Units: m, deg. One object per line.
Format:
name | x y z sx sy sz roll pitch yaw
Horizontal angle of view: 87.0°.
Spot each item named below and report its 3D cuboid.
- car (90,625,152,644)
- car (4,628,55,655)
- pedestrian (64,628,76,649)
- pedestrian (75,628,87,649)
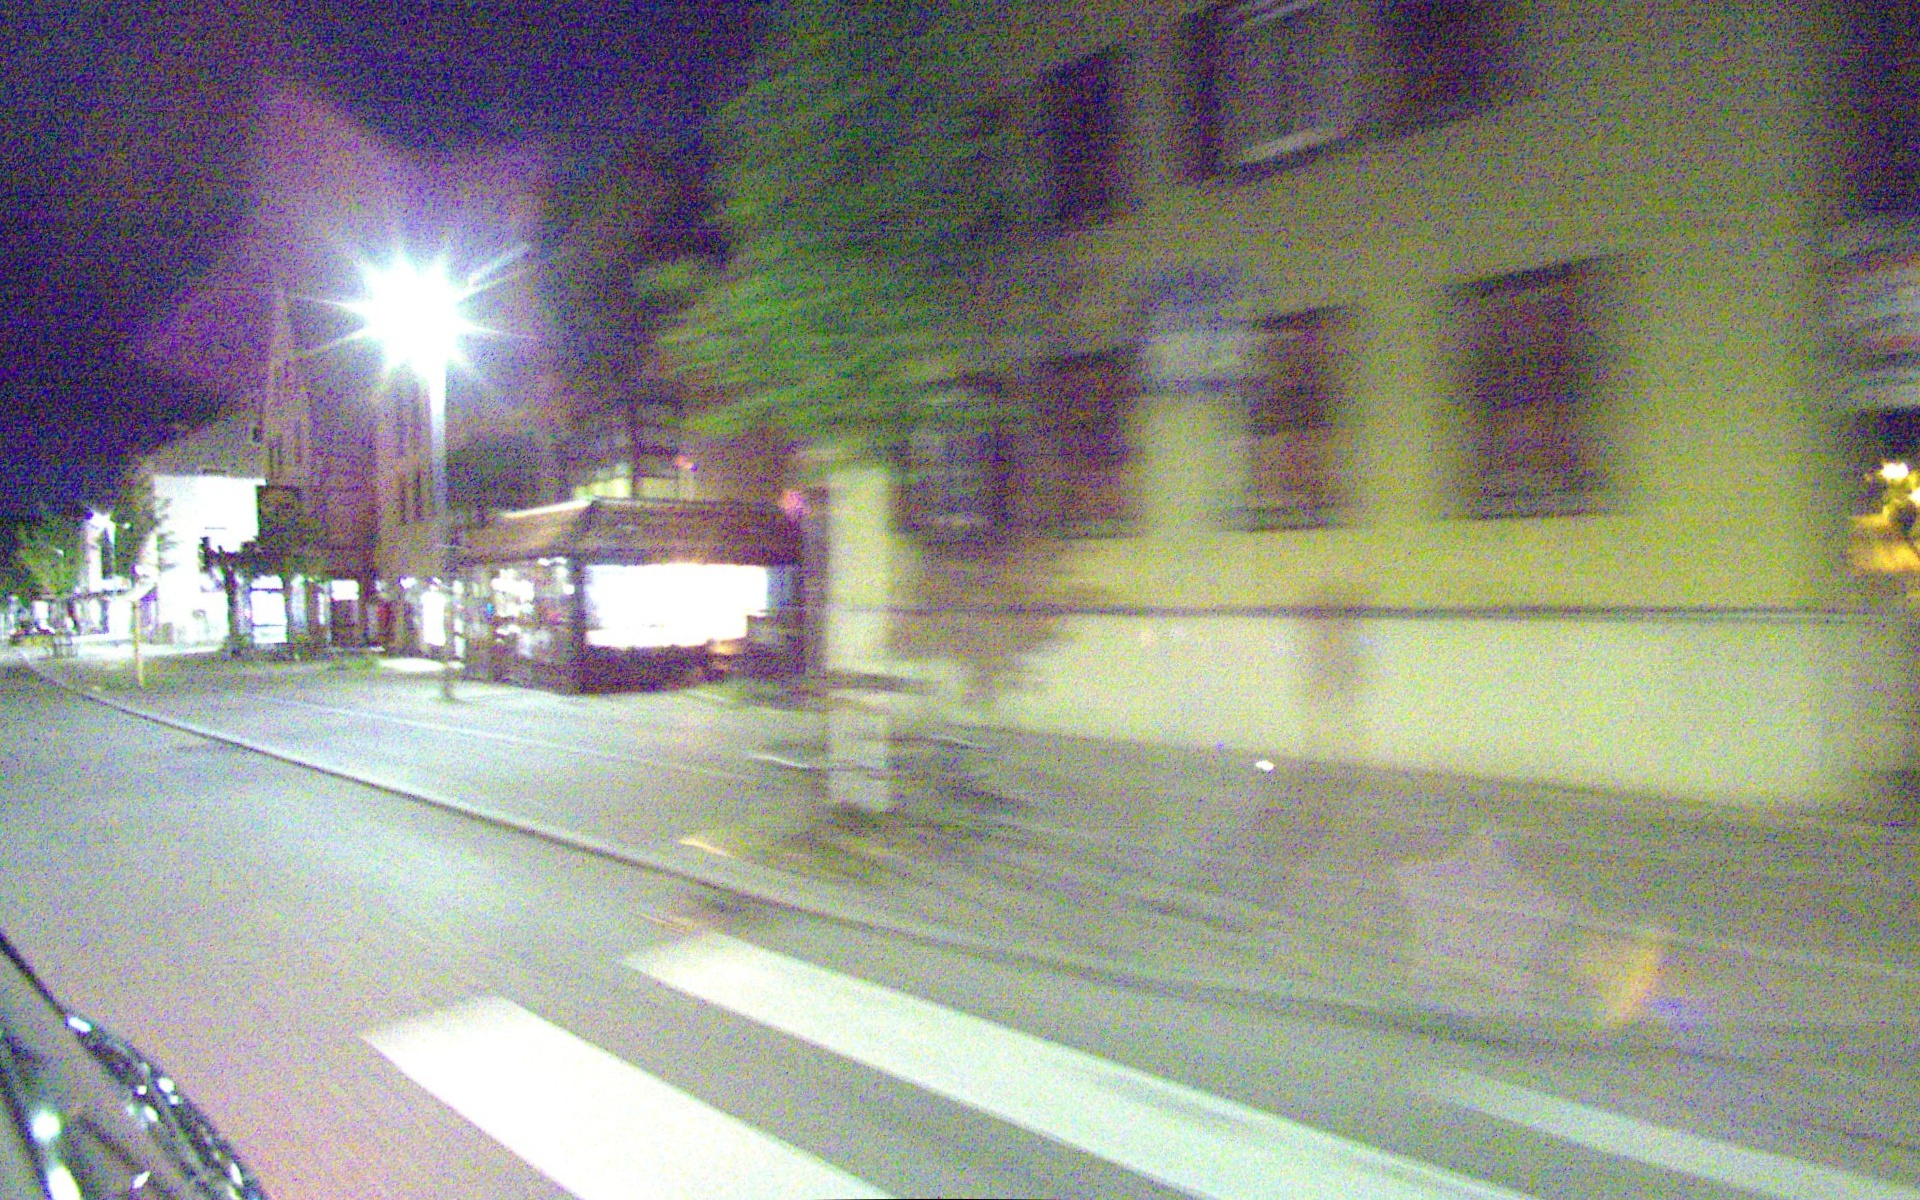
car | -68.893 2.812 83.154 1.653 1.427 3.780 -2 -2 44
car | -55.892 2.458 60.763 4.931 1.430 1.875 -2 1 44
pedestrian | -67.894 2.915 77.212 0.664 1.600 0.523 -2 -1 36
pedestrian | -67.457 2.955 77.678 0.664 1.600 0.523 -2 -1 34
